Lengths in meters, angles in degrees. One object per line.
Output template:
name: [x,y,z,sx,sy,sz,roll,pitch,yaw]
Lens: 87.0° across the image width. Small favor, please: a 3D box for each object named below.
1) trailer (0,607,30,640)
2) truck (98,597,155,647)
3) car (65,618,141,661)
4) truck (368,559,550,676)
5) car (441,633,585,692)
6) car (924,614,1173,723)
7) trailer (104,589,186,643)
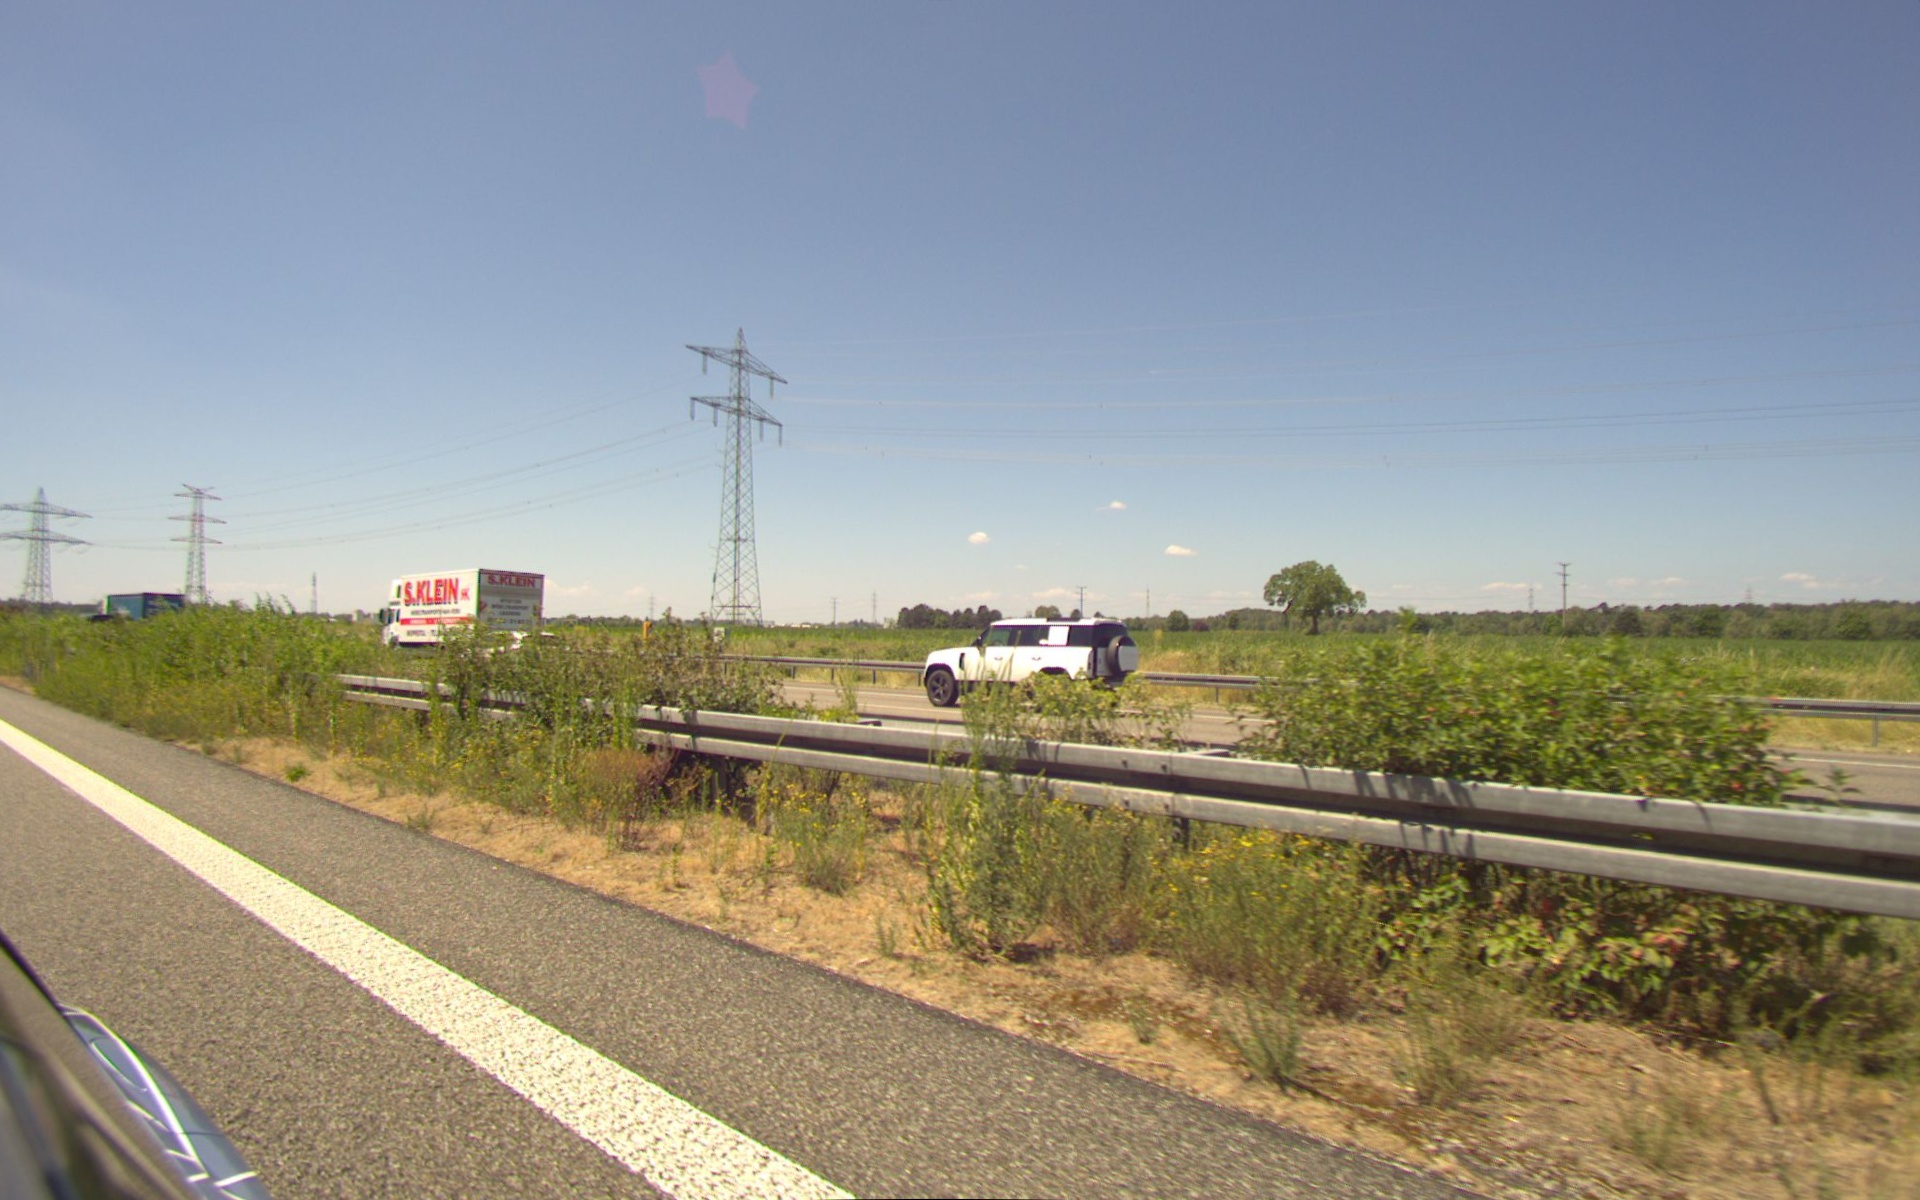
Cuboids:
trailer: [-130.826,3.287,139.065,12.266,4.339,3.159,-1,-2,42]
truck: [-69.738,1.863,84.670,5.798,4.100,2.668,-1,-2,41]
car: [-41.777,1.901,49.300,5.114,2.029,1.973,-1,-2,40]
truck: [-20.589,0.768,41.183,10.564,4.208,2.843,-2,-2,42]
car: [-12.635,1.692,28.466,4.776,1.510,1.750,-1,-2,39]
car: [1.714,1.327,20.861,4.992,1.980,1.878,-1,-3,41]
trailer: [-64.732,1.339,80.203,13.902,3.968,2.665,-1,-2,41]
